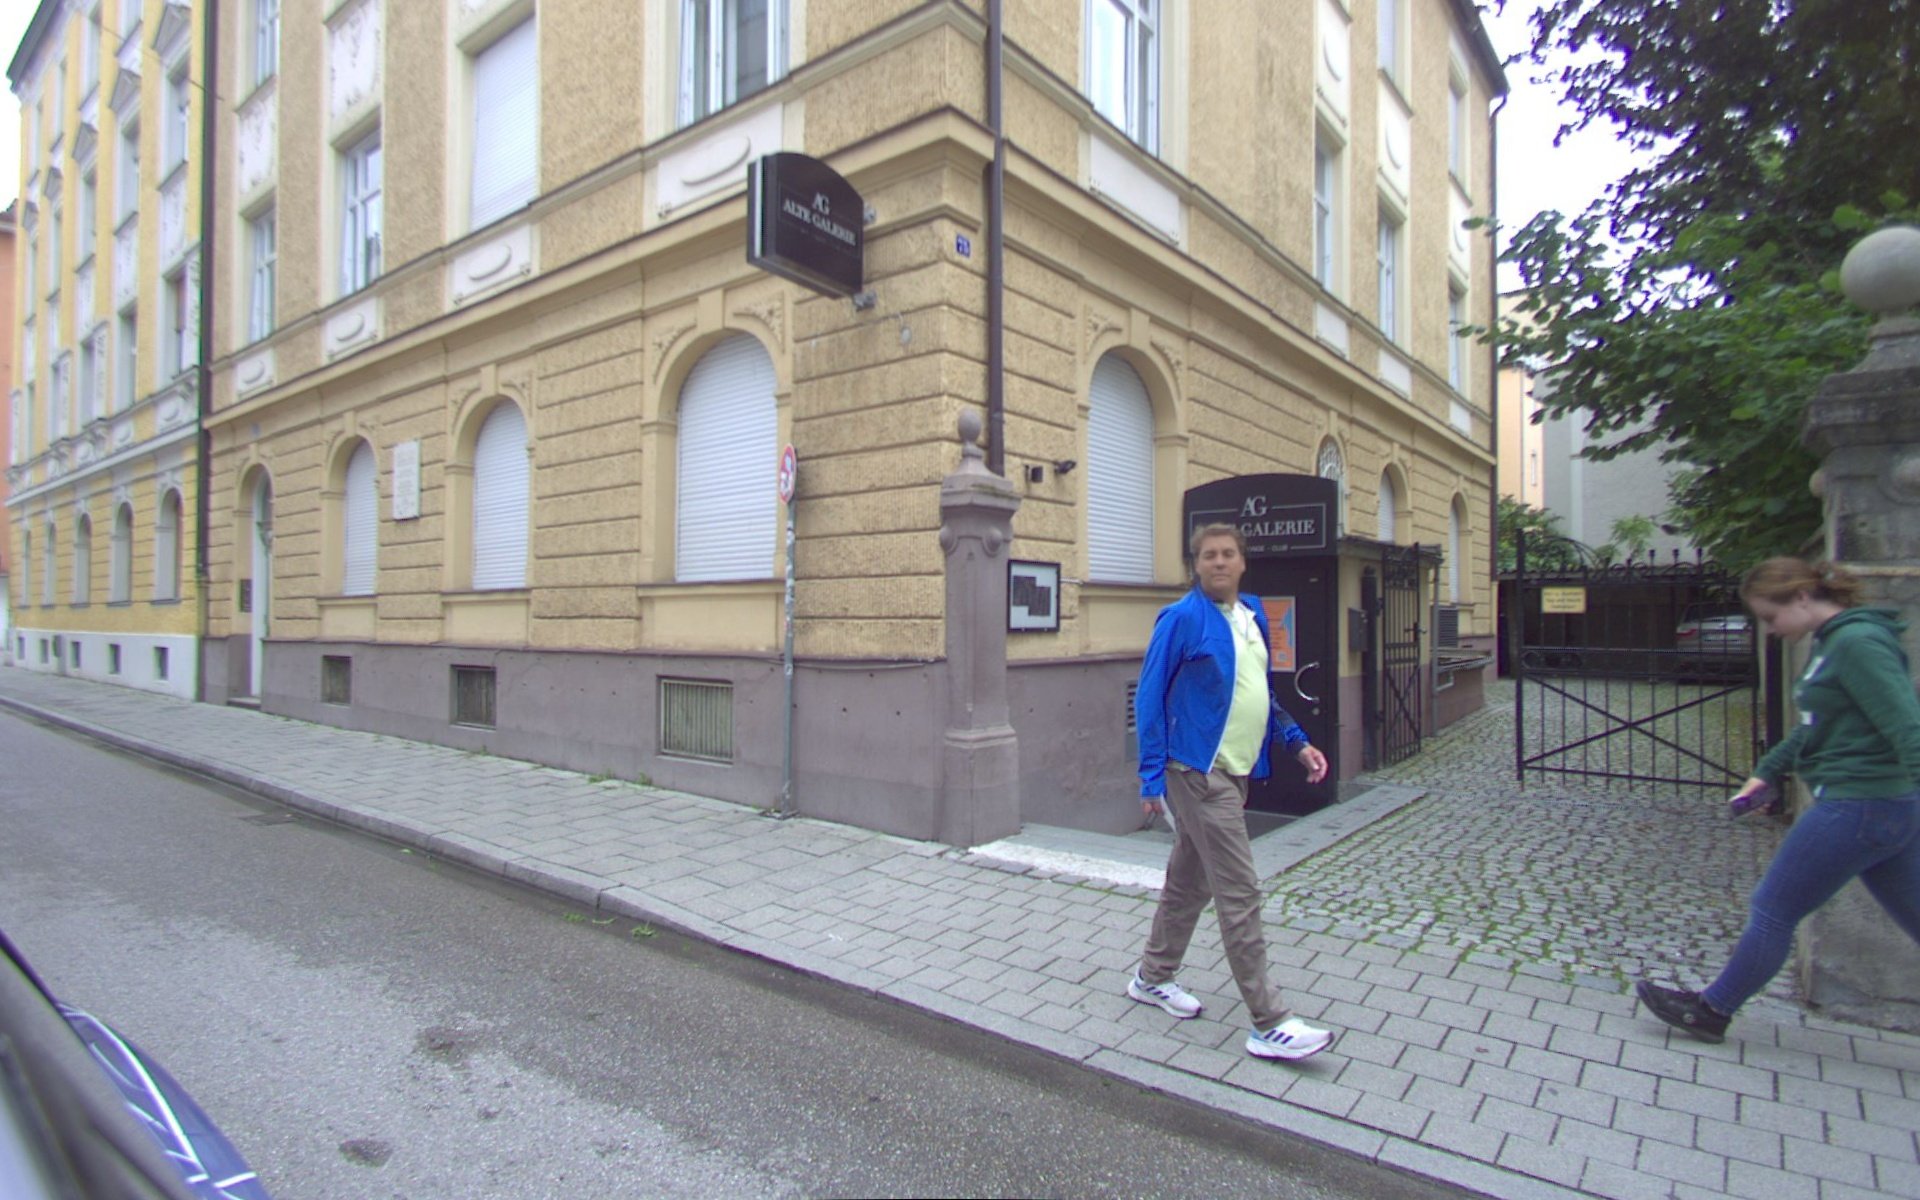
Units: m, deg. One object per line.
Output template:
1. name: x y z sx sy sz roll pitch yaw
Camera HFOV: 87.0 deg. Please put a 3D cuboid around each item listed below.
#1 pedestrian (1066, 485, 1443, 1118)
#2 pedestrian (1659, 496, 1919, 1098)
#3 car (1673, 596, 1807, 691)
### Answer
1. pedestrian: 1.045 0.598 3.626 1.076 1.868 0.749 -1 0 39
2. pedestrian: 2.790 0.542 3.164 0.928 1.678 0.706 -1 1 39
3. car: 15.059 0.763 19.470 1.635 1.552 3.679 -1 1 44
